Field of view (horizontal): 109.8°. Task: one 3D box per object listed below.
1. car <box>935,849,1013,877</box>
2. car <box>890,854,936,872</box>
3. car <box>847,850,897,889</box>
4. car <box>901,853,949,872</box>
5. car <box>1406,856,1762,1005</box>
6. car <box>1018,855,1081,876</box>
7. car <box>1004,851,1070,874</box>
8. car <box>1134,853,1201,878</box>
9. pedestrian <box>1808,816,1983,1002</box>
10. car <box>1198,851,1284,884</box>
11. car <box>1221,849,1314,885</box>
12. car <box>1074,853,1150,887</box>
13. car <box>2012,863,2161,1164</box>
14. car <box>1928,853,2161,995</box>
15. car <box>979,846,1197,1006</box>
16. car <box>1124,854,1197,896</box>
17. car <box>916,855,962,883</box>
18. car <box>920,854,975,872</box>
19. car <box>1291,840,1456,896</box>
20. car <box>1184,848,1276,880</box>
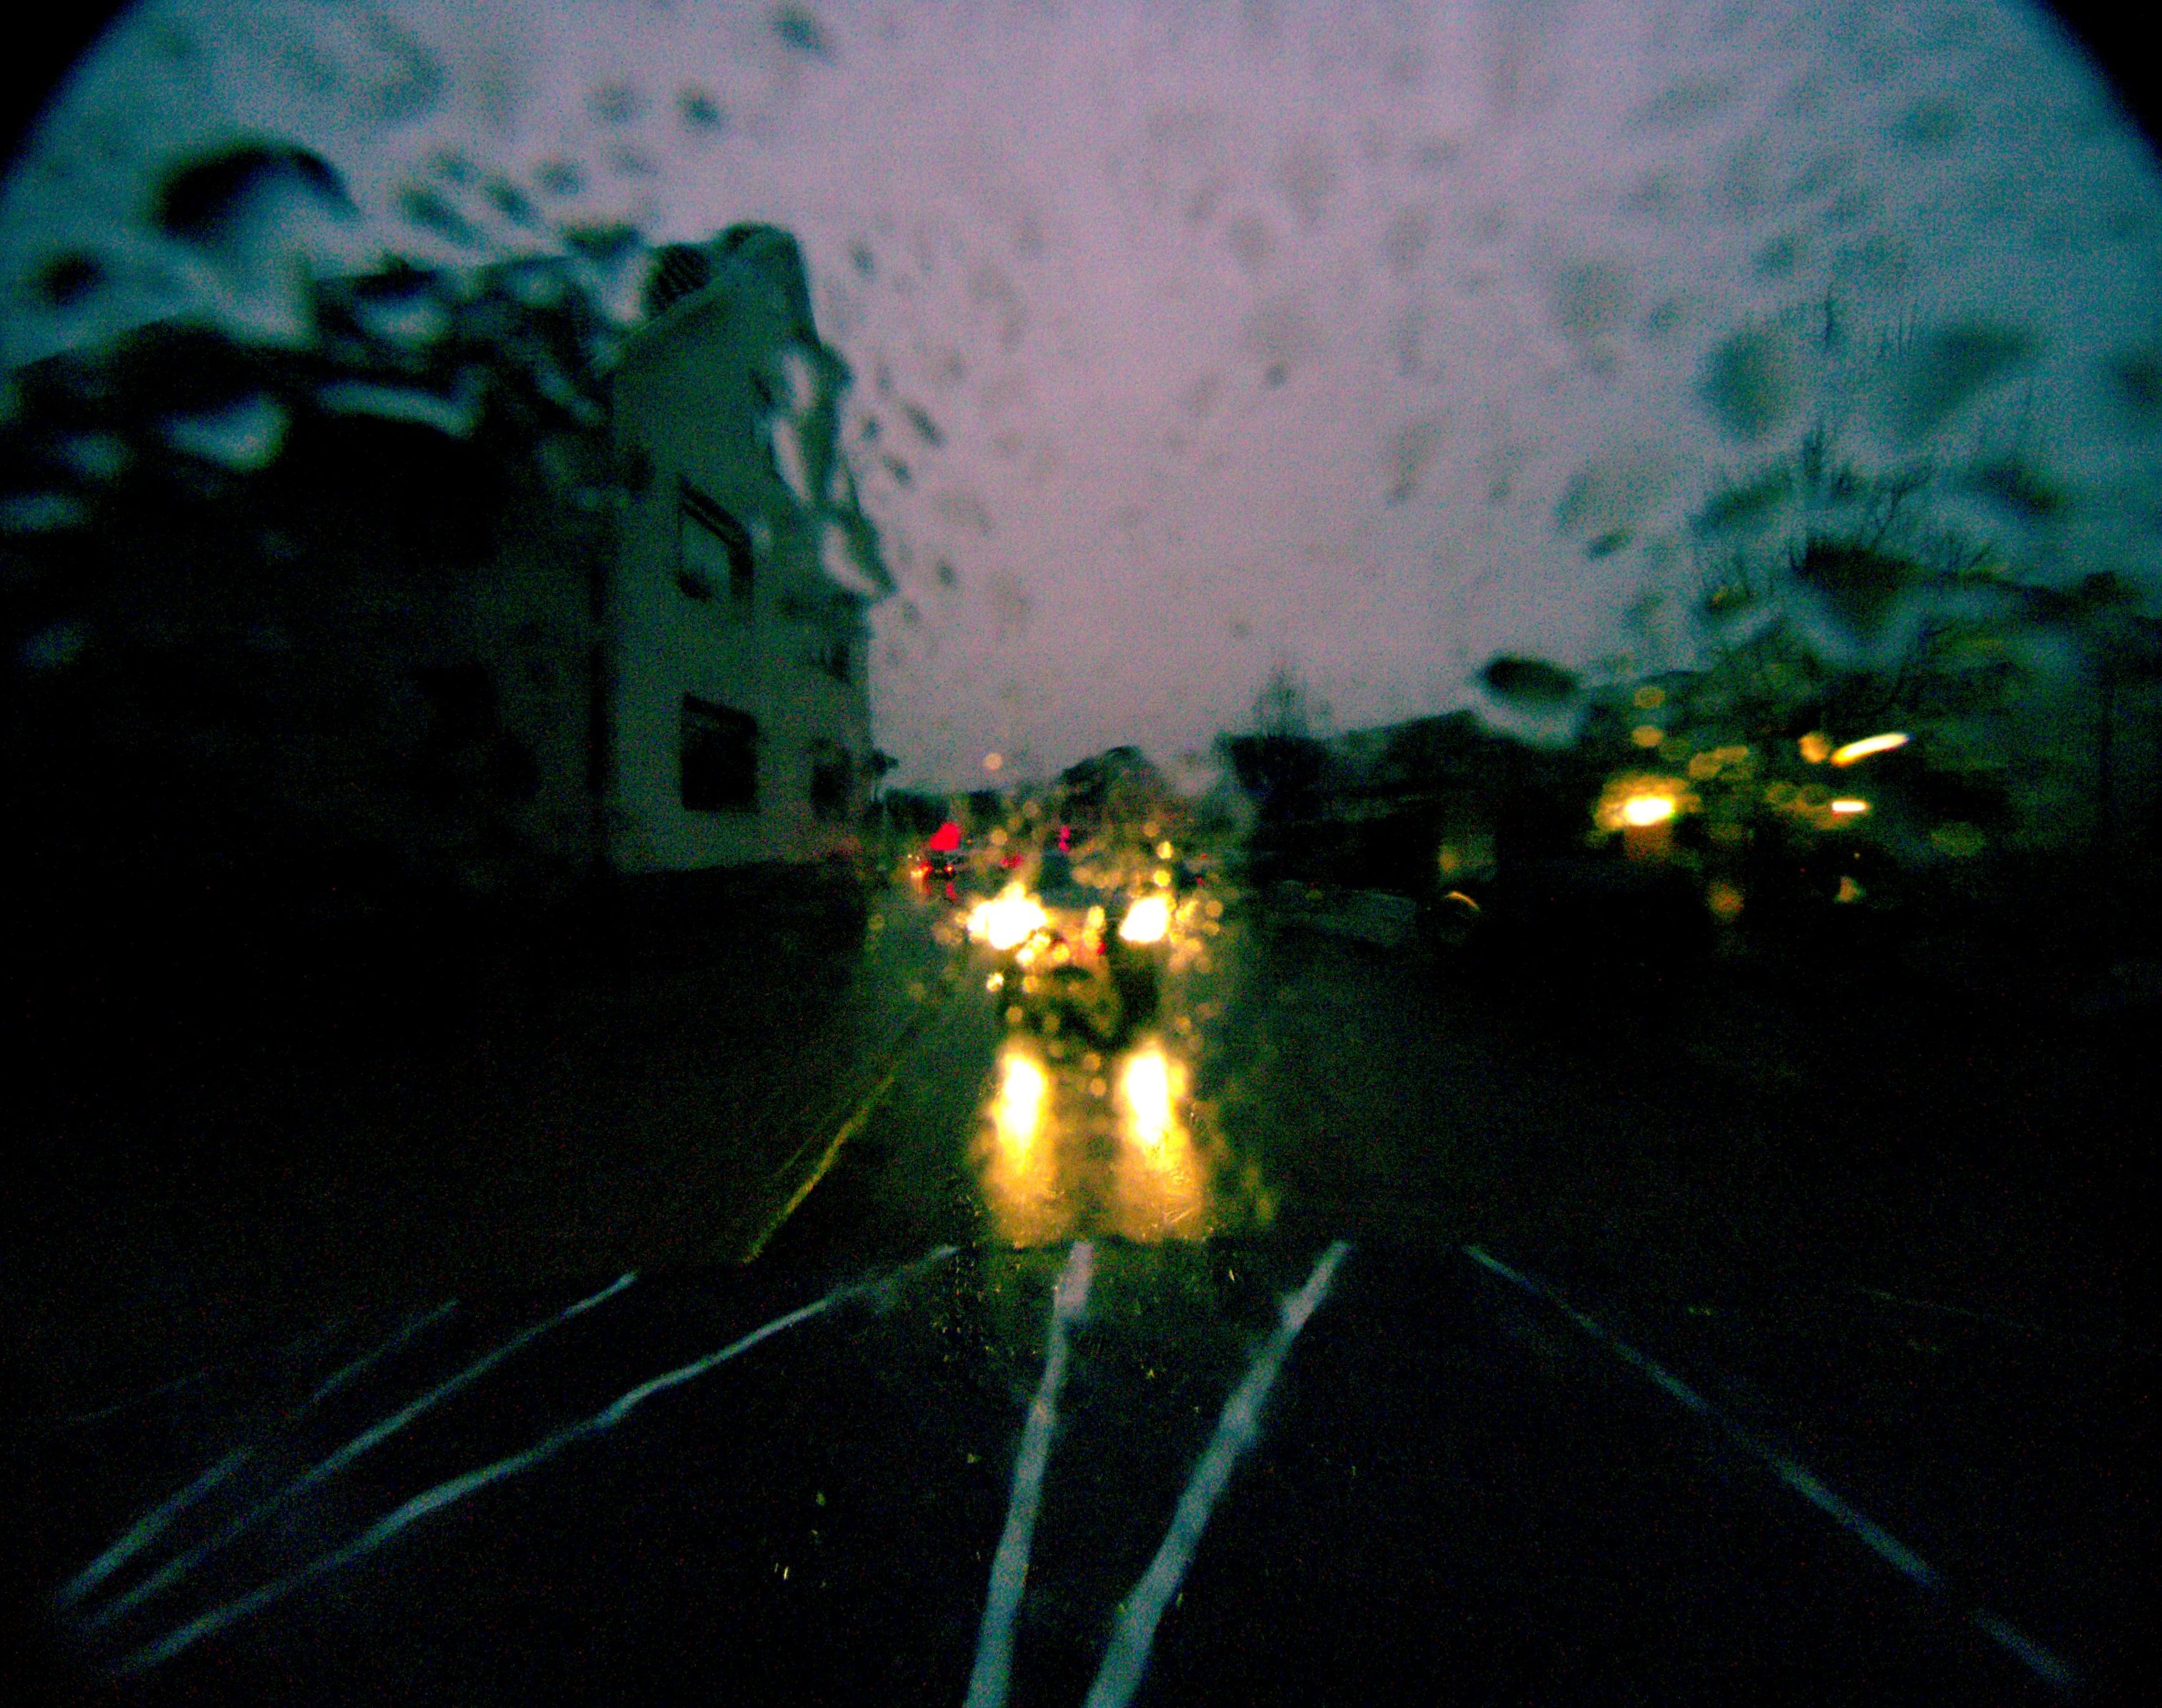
[{"bbox_3d":[-8.437,0.708,59.742,5.783,1.934,1.988,-2,0,-16],"label":"car"},{"bbox_3d":[-18.000,0.971,81.235,4.435,1.790,1.840,-1,0,-30],"label":"car"},{"bbox_3d":[-11.475,0.818,41.516,1.982,1.948,4.842,-1,0,-23],"label":"car"},{"bbox_3d":[-16.227,0.886,79.155,4.524,1.855,1.864,-1,0,-30],"label":"car"},{"bbox_3d":[6.243,0.807,10.212,1.751,1.464,4.457,-2,0,-1],"label":"car"},{"bbox_3d":[-2.590,0.962,62.162,4.775,1.625,1.997,1,-1,-21],"label":"car"},{"bbox_3d":[-3.328,0.622,57.350,4.456,1.623,2.150,-1,1,-29],"label":"car"},{"bbox_3d":[5.330,0.690,47.174,4.069,1.451,1.758,-1,1,4],"label":"car"},{"bbox_3d":[8.702,0.552,8.174,0.755,1.856,1.060,-1,1,1],"label":"pedestrian"},{"bbox_3d":[7.864,0.621,37.662,4.107,1.573,1.722,0,1,9],"label":"car"},{"bbox_3d":[8.526,0.591,34.823,3.993,1.521,2.002,-1,0,13],"label":"car"},{"bbox_3d":[1.447,0.770,37.302,1.913,1.524,4.247,-2,0,-26],"label":"car"},{"bbox_3d":[6.444,0.821,2.650,1.697,1.507,3.772,-2,0,-2],"label":"car"},{"bbox_3d":[12.484,0.731,8.209,4.078,1.468,1.742,0,0,23],"label":"car"},{"bbox_3d":[-0.041,0.746,10.580,2.270,1.633,5.064,-1,0,-3],"label":"car"},{"bbox_3d":[3.168,0.802,31.000,1.840,1.527,3.671,-2,1,-13],"label":"car"},{"bbox_3d":[-10.086,1.016,53.735,2.150,1.850,4.733,-2,1,-23],"label":"car"},{"bbox_3d":[-12.826,0.868,73.049,4.888,1.674,1.996,-1,-1,-28],"label":"car"},{"bbox_3d":[10.397,0.471,27.490,5.387,1.874,2.076,0,0,16],"label":"car"},{"bbox_3d":[7.876,0.524,40.464,4.649,1.644,1.989,0,1,9],"label":"car"}]
